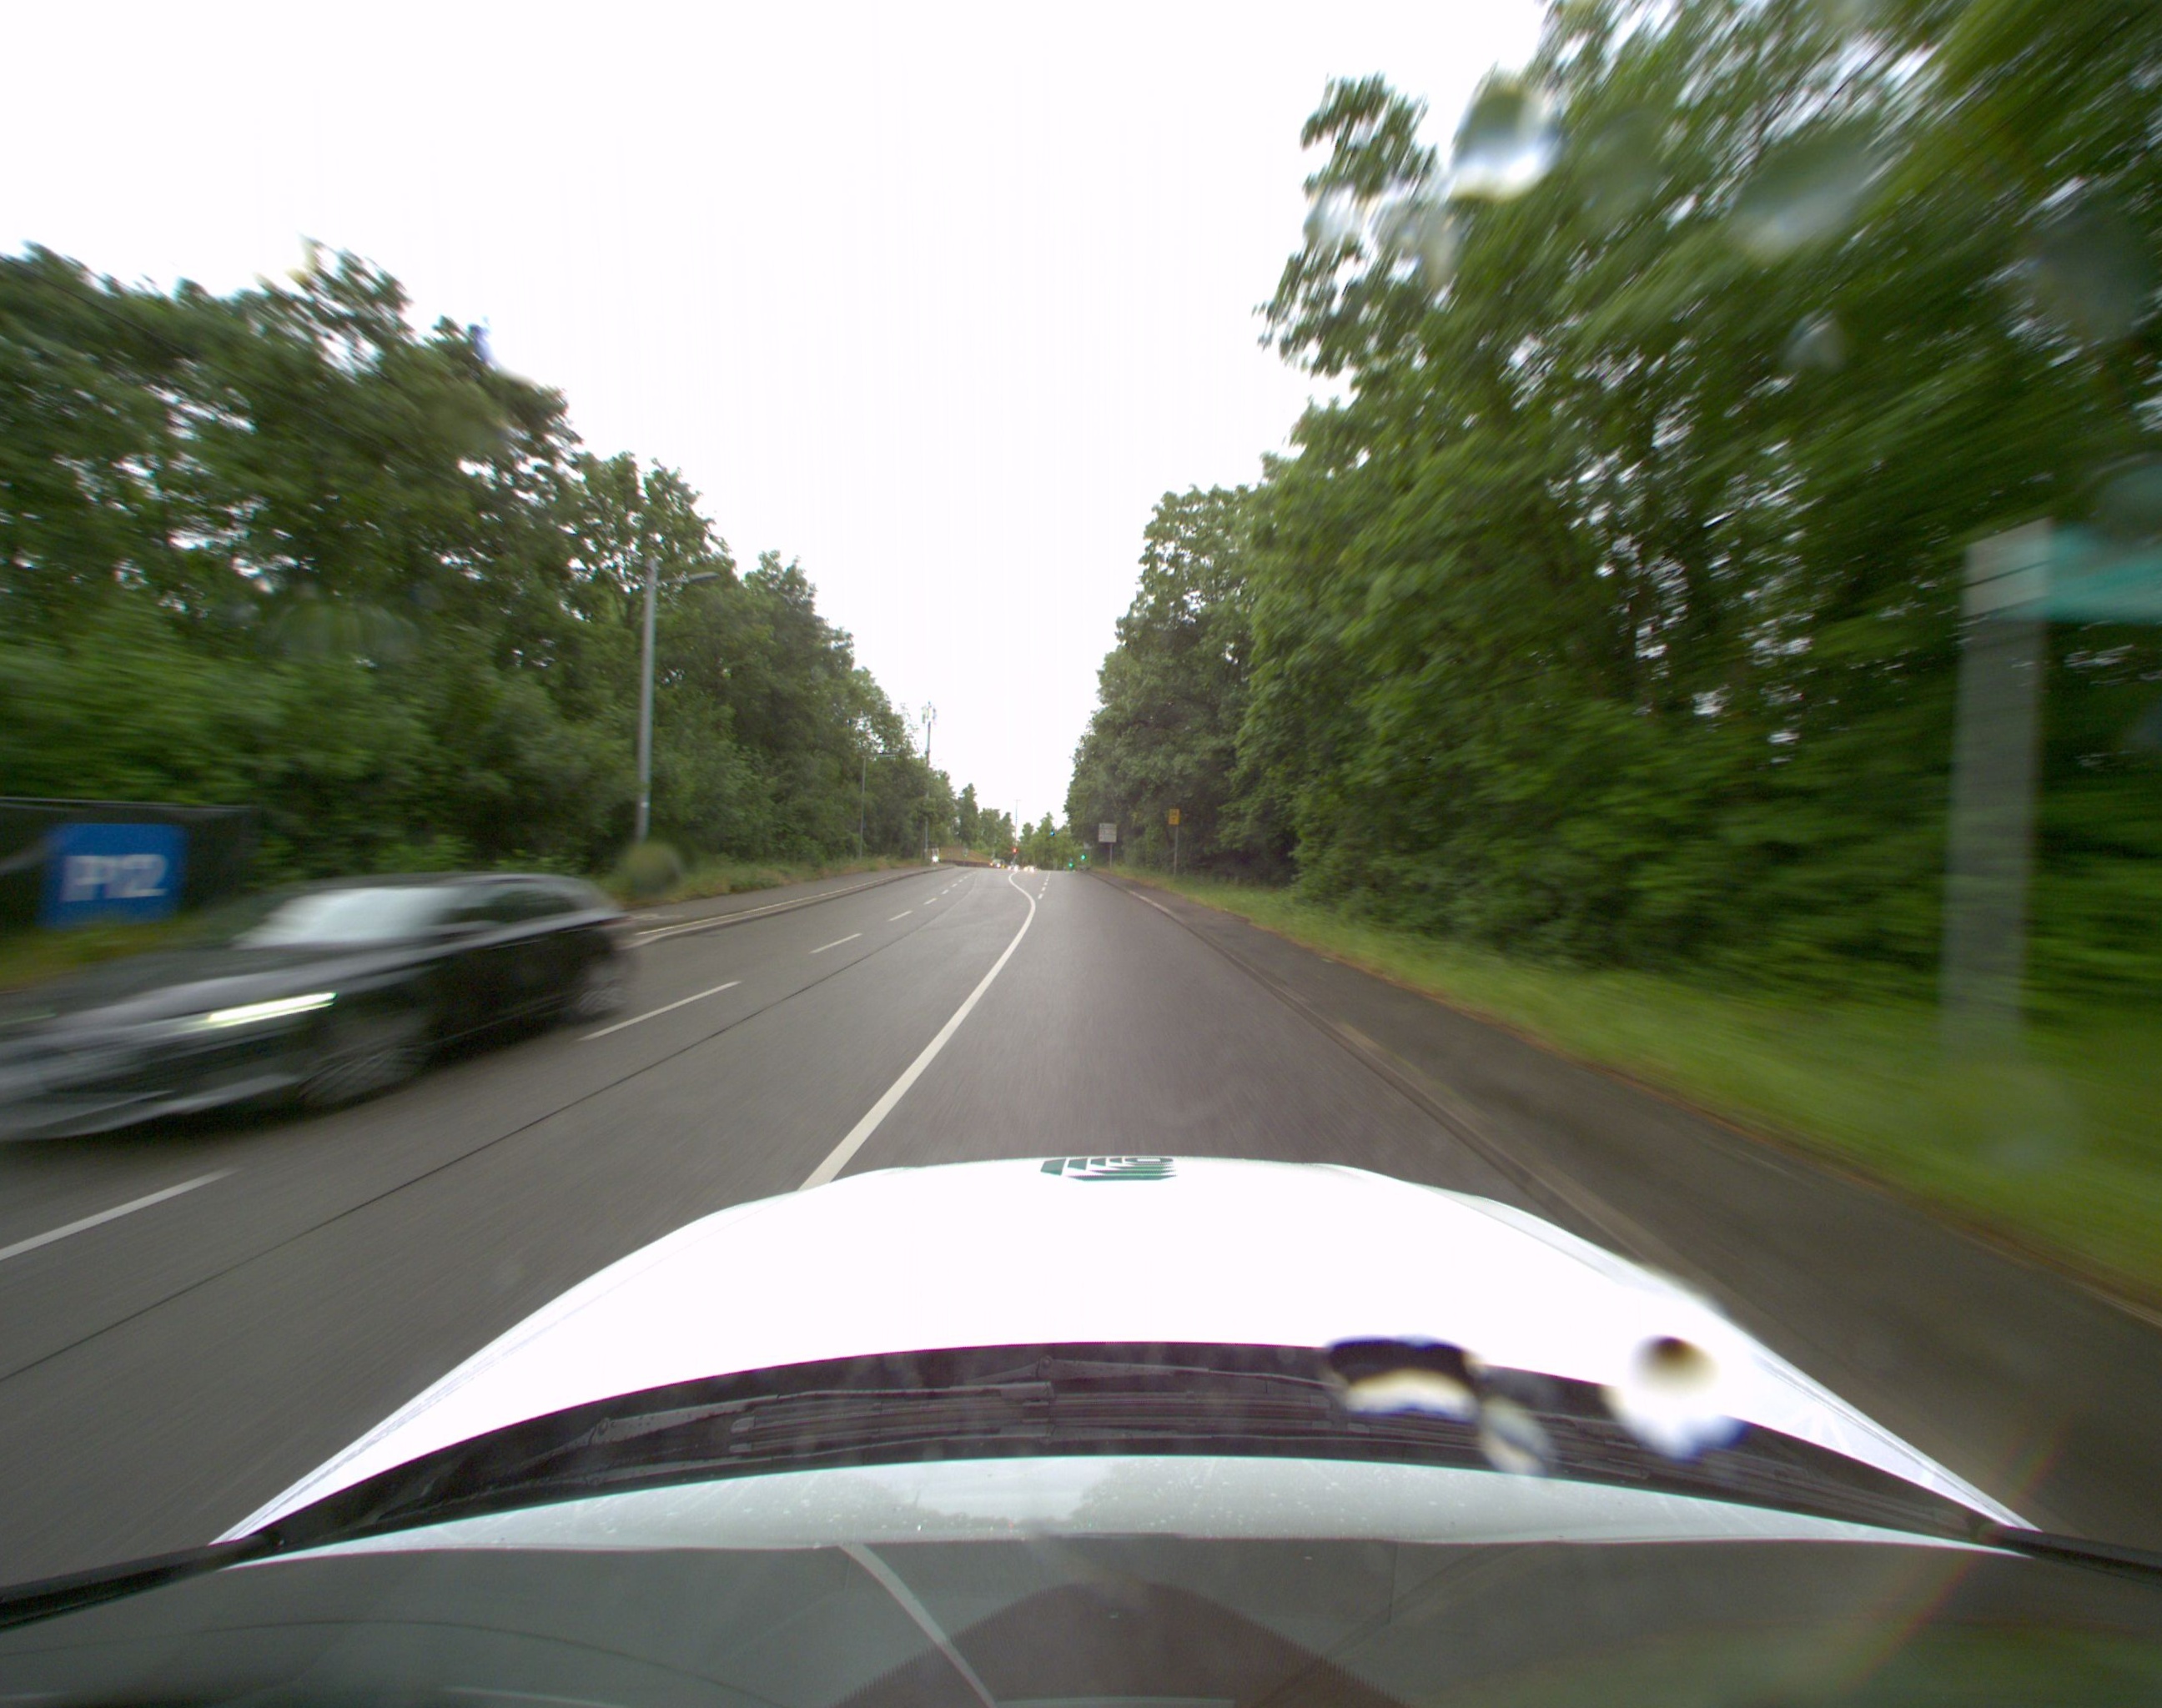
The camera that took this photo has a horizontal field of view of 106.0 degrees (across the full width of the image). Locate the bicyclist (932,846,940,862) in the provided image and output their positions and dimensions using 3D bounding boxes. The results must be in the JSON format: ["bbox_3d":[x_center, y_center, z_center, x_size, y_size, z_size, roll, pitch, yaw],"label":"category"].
[{"bbox_3d":[-15.167,-0.036,85.165,0.702,1.644,0.950,0,0,-2],"label":"bicyclist"}]

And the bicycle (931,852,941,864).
[{"bbox_3d":[-15.176,0.402,85.158,0.702,1.242,2.163,0,0,-1],"label":"bicycle"}]

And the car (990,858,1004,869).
[{"bbox_3d":[-15.424,1.743,149.401,1.985,1.849,4.002,-1,-2,3],"label":"car"}]

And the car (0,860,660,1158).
[{"bbox_3d":[-5.375,0.819,6.376,1.929,1.498,4.316,0,0,-1],"label":"car"}]

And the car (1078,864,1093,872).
[{"bbox_3d":[0.904,2.701,159.139,1.922,1.498,4.333,0,0,13],"label":"car"}]
